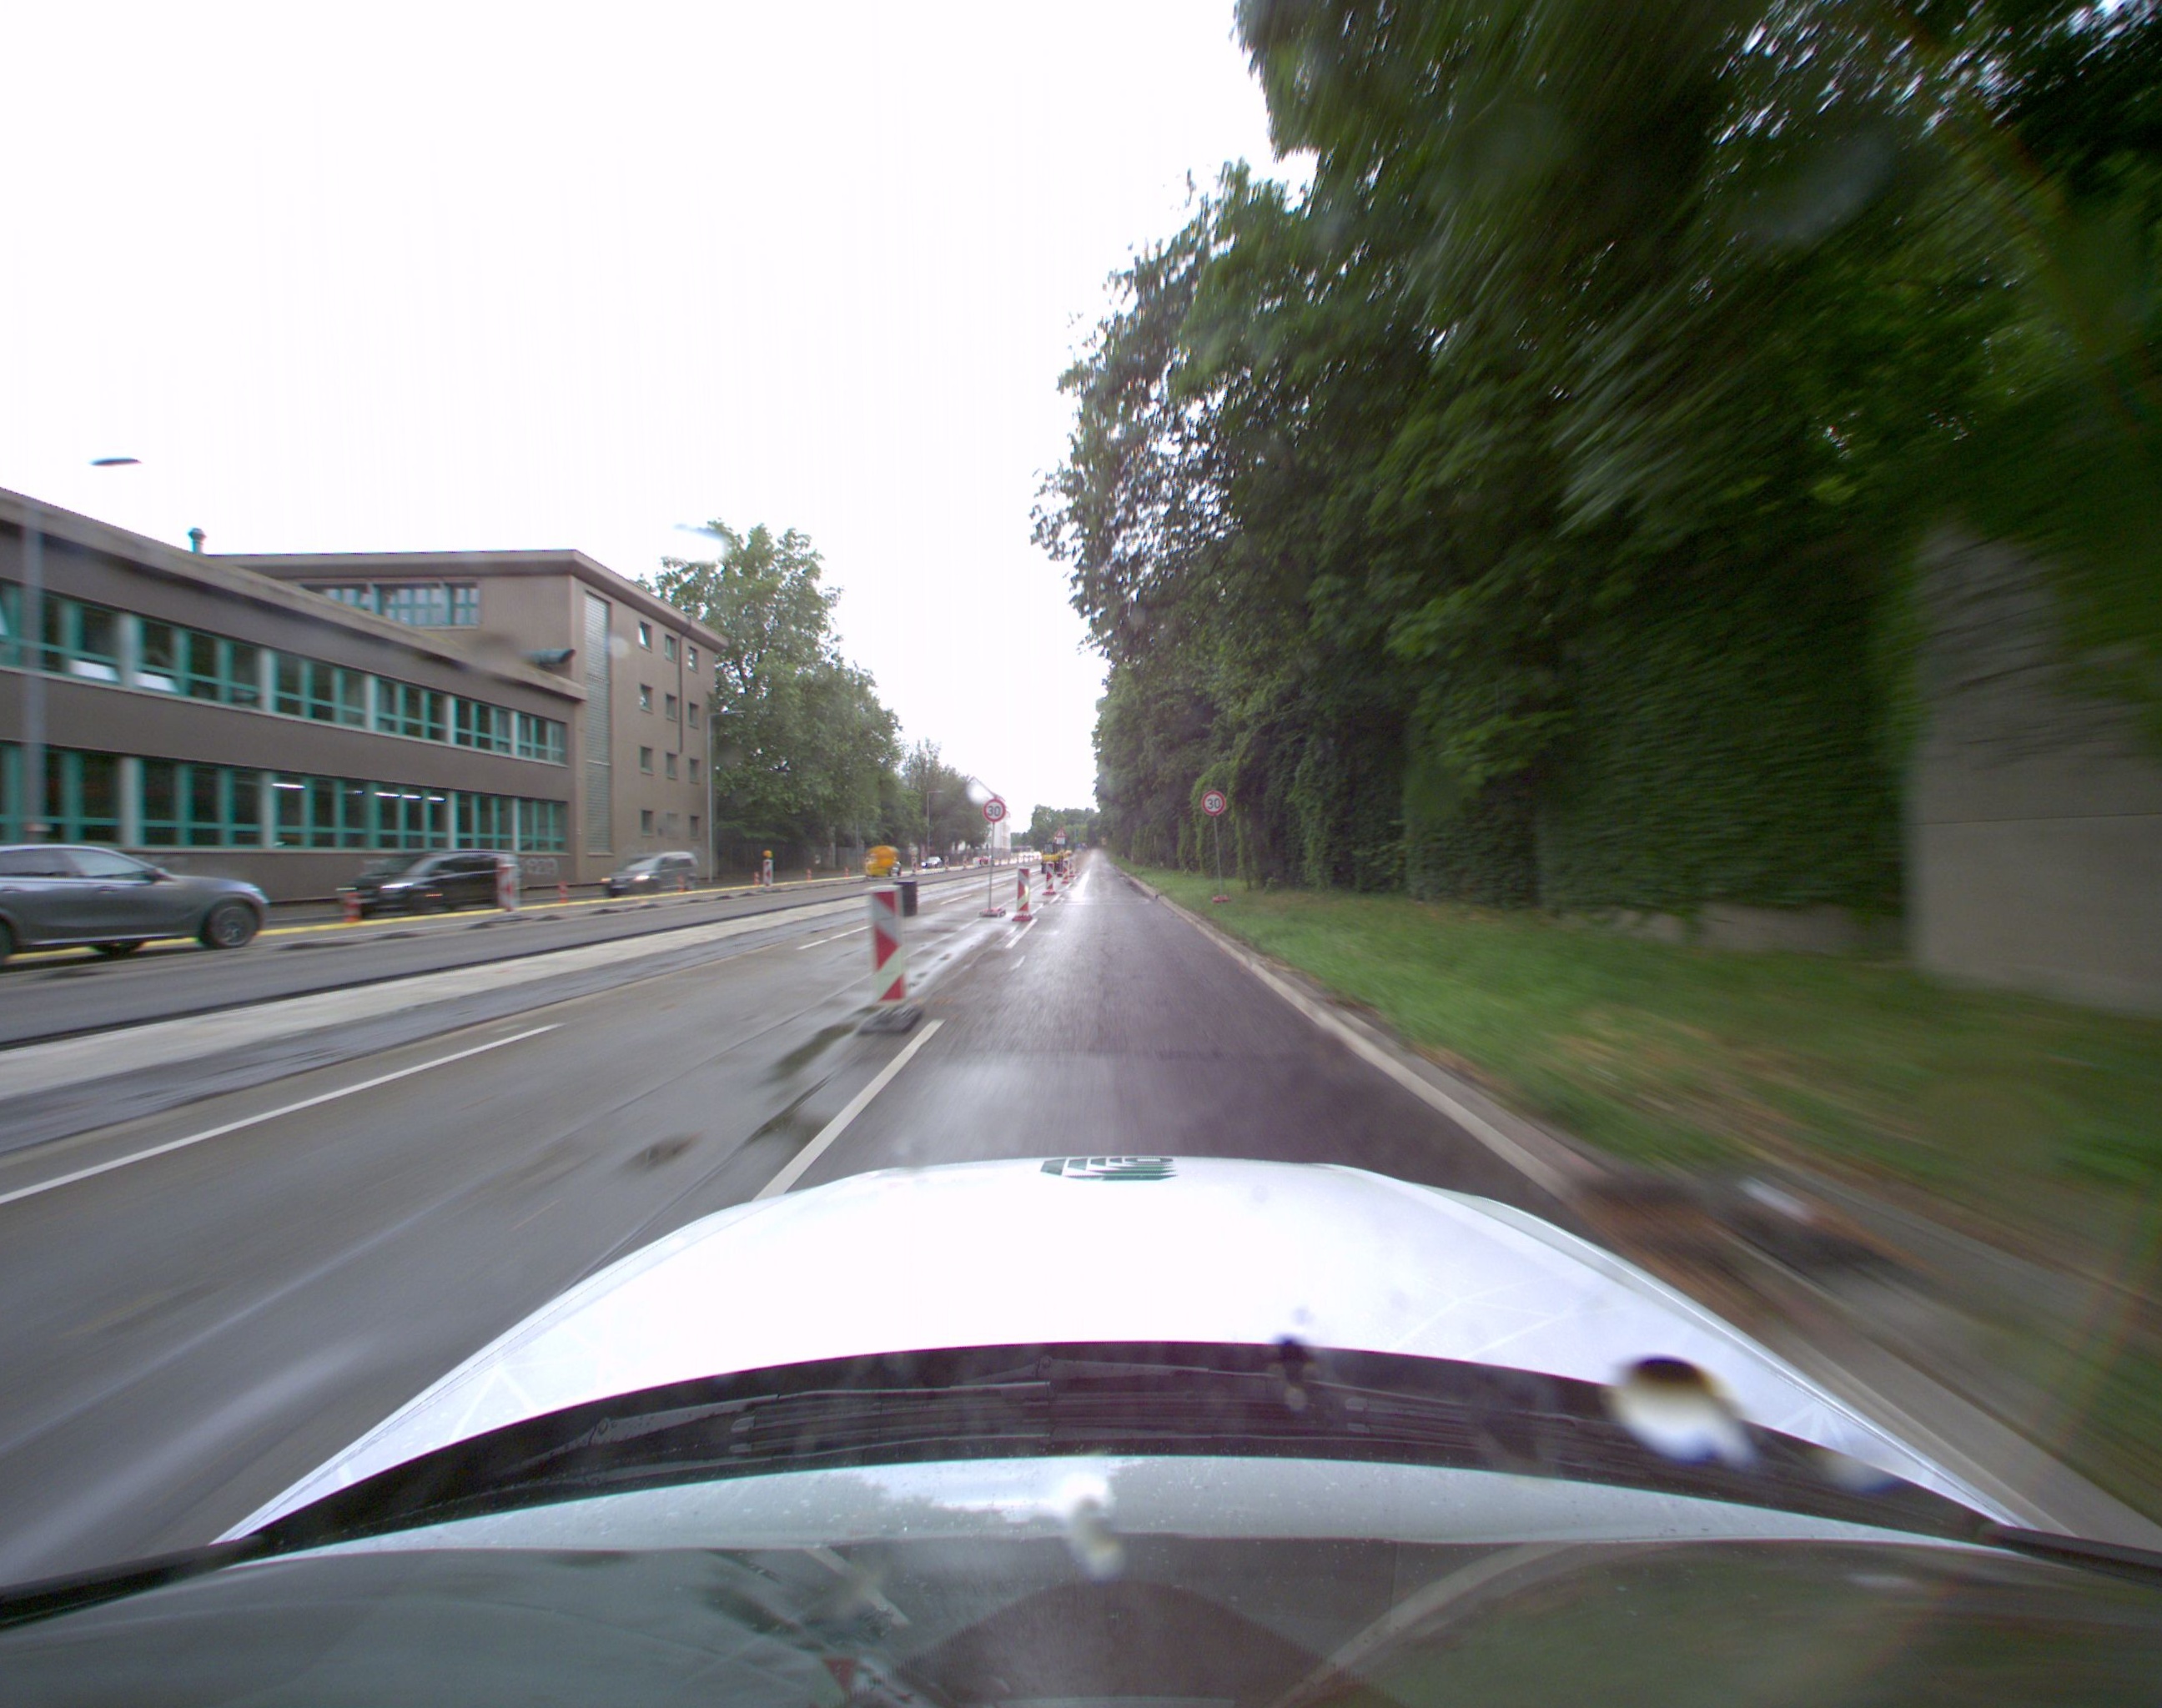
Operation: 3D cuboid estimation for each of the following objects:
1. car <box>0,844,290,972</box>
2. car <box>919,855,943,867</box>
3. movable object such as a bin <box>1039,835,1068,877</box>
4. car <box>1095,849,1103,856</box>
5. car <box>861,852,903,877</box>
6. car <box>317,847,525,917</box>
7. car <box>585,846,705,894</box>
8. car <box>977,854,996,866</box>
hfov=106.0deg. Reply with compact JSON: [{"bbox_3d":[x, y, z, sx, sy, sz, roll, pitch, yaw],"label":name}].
[{"bbox_3d":[-14.564,0.683,11.357,2.069,1.613,5.056,0,0,0],"label":"car"},{"bbox_3d":[-18.467,0.849,100.473,1.986,1.348,4.792,0,0,1],"label":"car"},{"bbox_3d":[-2.229,0.157,67.623,1.986,3.367,5.983,0,0,1],"label":"movable object such as a bin"},{"bbox_3d":[4.800,-0.437,218.735,1.986,1.673,4.001,0,0,1],"label":"car"},{"bbox_3d":[-13.639,0.704,56.051,1.848,1.648,4.001,0,0,1],"label":"car"},{"bbox_3d":[-19.967,0.781,25.057,1.987,1.919,5.363,0,0,0],"label":"car"},{"bbox_3d":[-17.478,0.617,32.989,1.985,1.780,4.958,0,0,3],"label":"car"},{"bbox_3d":[-12.470,0.760,107.411,1.987,1.519,4.000,0,0,1],"label":"car"}]
